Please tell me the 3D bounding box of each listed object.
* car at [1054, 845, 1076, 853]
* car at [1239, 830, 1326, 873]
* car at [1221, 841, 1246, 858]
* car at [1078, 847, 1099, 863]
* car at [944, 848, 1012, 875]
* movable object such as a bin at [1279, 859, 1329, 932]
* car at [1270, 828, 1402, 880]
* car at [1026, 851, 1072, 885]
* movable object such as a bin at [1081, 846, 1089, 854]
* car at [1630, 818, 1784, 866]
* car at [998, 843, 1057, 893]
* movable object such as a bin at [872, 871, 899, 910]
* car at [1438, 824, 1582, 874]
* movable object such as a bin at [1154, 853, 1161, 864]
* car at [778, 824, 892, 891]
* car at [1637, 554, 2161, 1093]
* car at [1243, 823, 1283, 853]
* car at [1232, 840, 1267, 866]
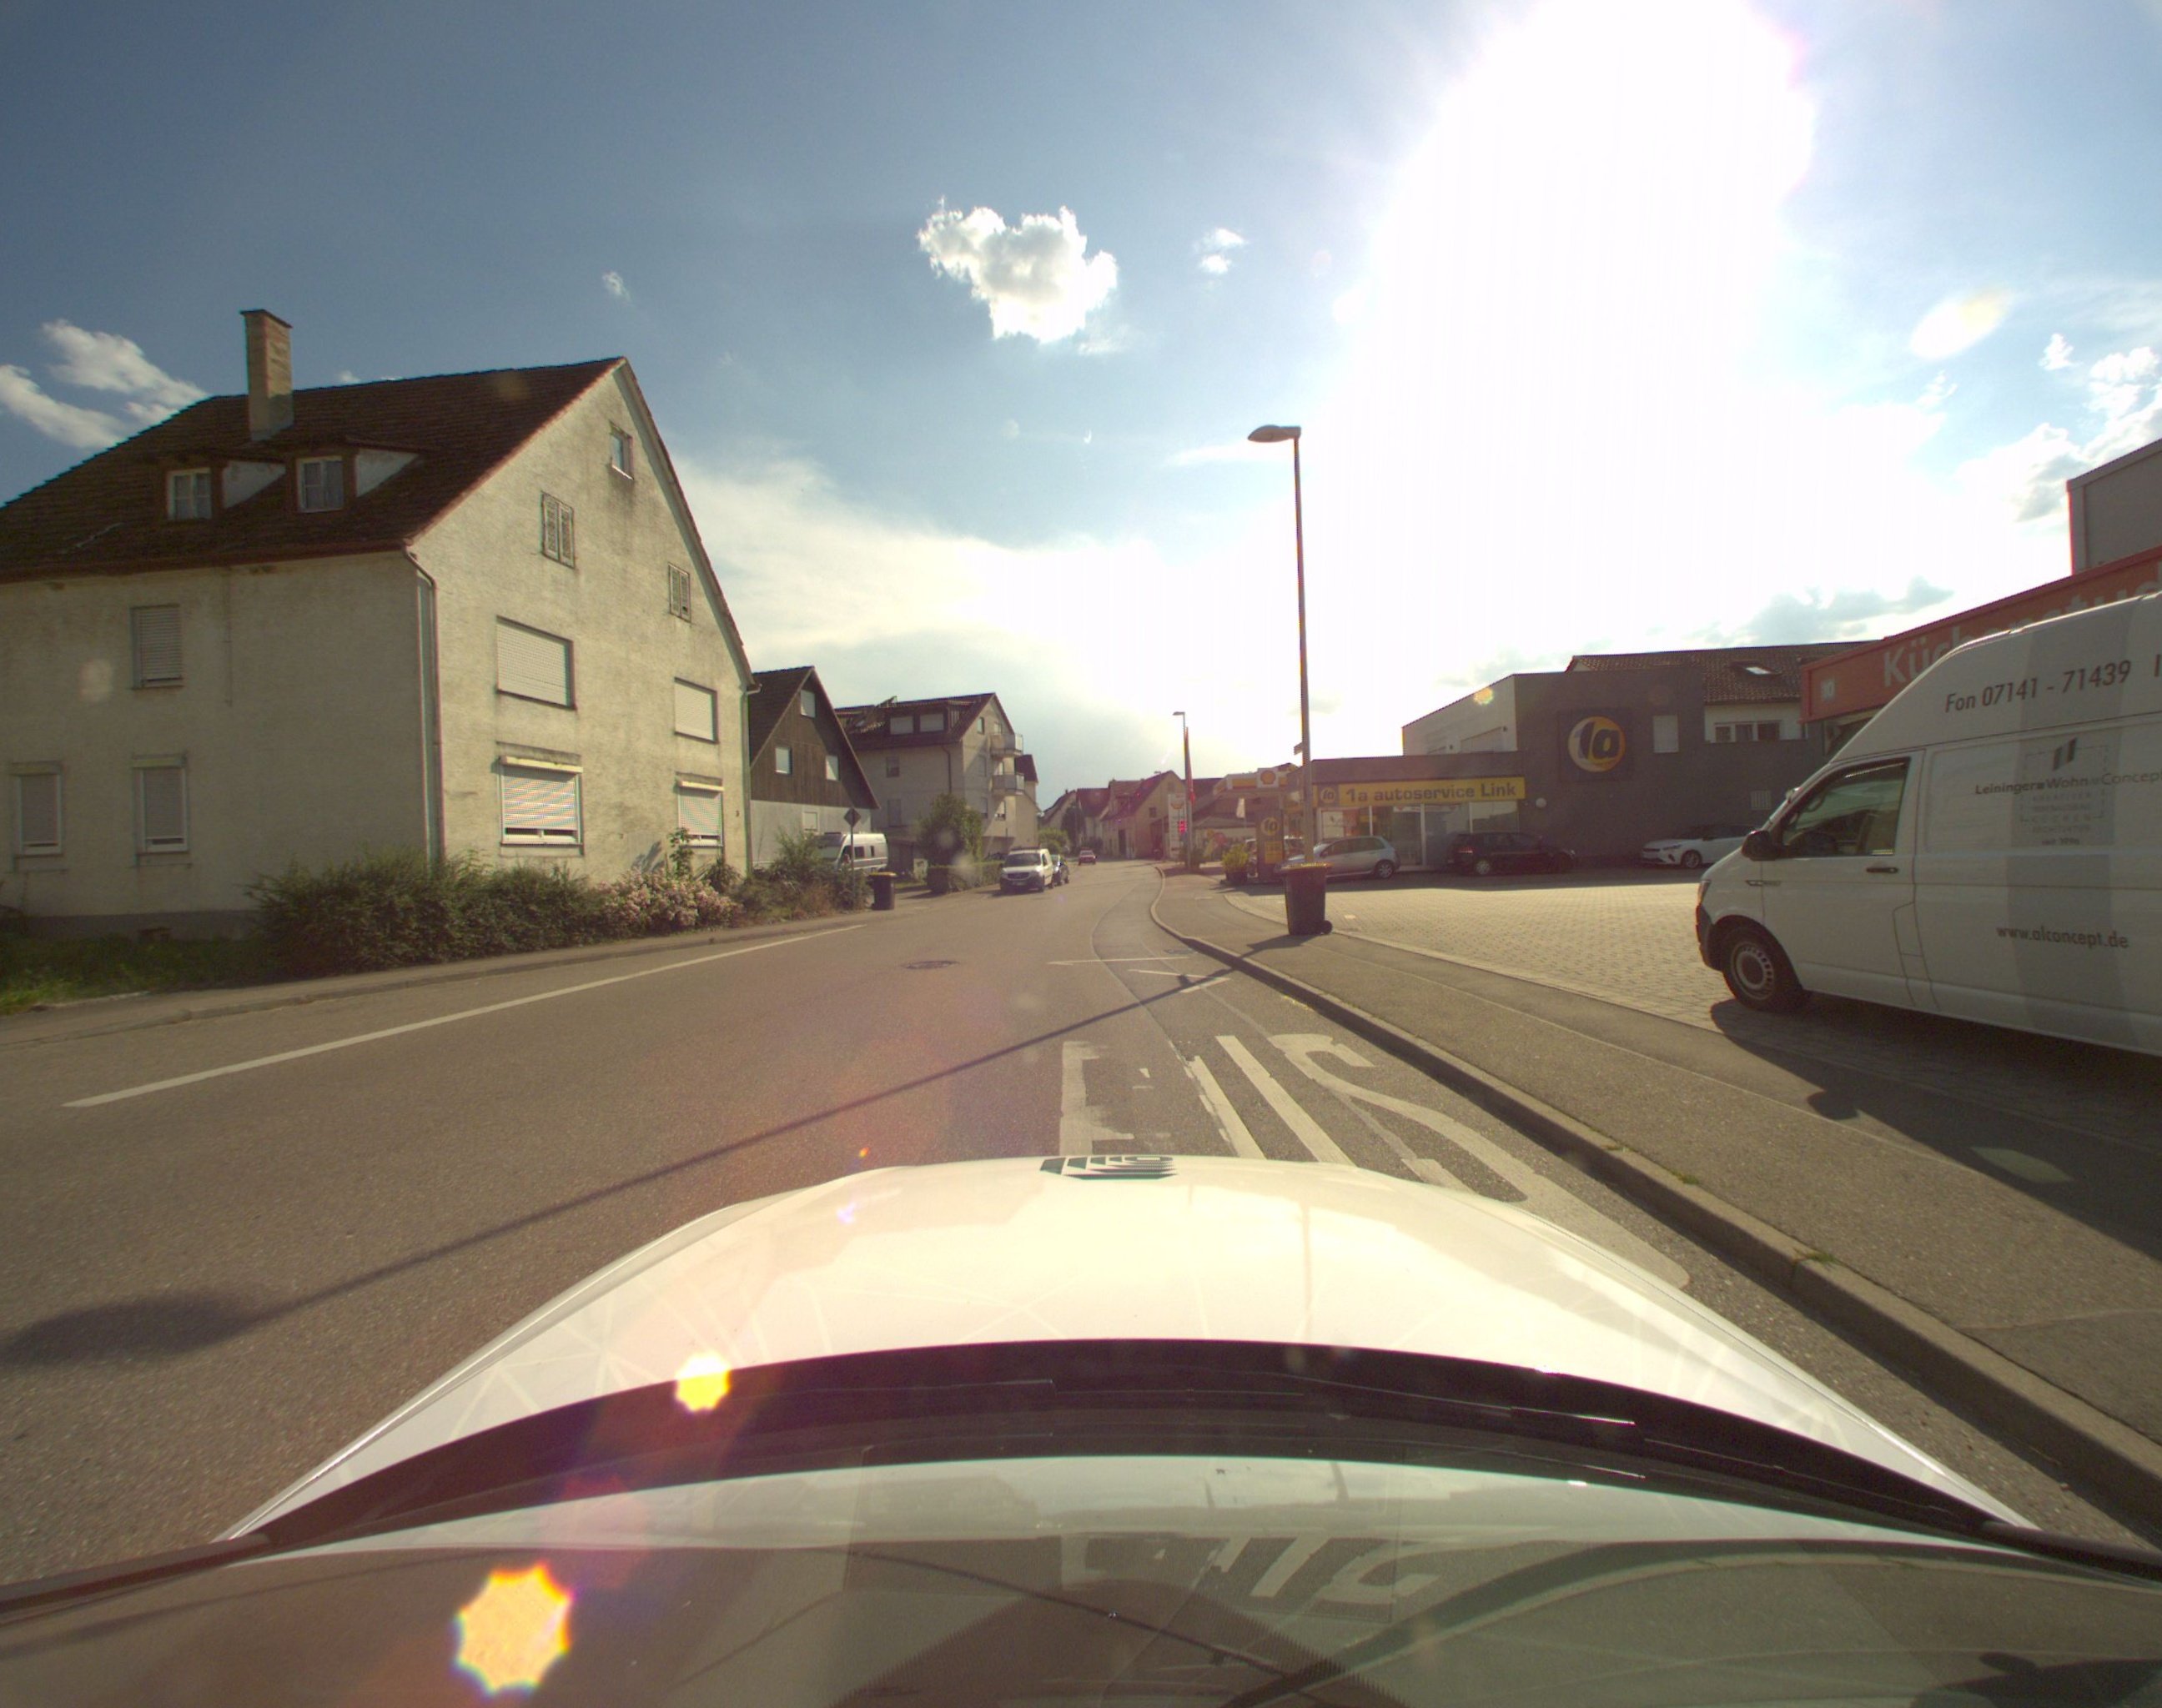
[{"bbox_3d":[-3.013,-0.899,154.373,3.980,1.352,1.708,-2,0,-5],"label":"car"},{"bbox_3d":[9.427,-0.127,37.905,4.098,1.674,1.658,-4,0,-38],"label":"car"},{"bbox_3d":[13.531,-0.428,72.564,1.571,1.427,4.385,-2,0,3],"label":"car"},{"bbox_3d":[0.717,0.114,84.454,1.706,1.434,3.773,-4,0,-5],"label":"car"},{"bbox_3d":[-6.647,0.487,52.595,3.957,1.538,1.770,2,1,16],"label":"car"},{"bbox_3d":[3.446,0.631,12.638,0.565,1.075,0.573,-3,0,0],"label":"movable object such as a bin"},{"bbox_3d":[8.656,0.010,27.787,3.977,1.531,1.526,-3,0,-2],"label":"car"},{"bbox_3d":[-1.514,0.640,39.719,1.664,1.451,3.841,-3,0,6],"label":"car"},{"bbox_3d":[0.719,-0.690,133.408,1.160,1.168,0.653,-2,0,-8],"label":"movable object such as a bin"},{"bbox_3d":[21.058,-0.428,27.498,3.890,1.408,1.717,-2,2,1],"label":"car"},{"bbox_3d":[-2.195,0.542,34.374,1.708,1.872,4.199,-4,0,6],"label":"car"},{"bbox_3d":[-5.731,1.057,23.870,0.608,1.101,0.576,-1,-1,5],"label":"movable object such as a bin"},{"bbox_3d":[14.269,-0.193,27.228,3.890,1.467,1.717,-2,2,1],"label":"car"},{"bbox_3d":[7.898,0.444,83.926,0.650,1.073,0.513,-2,0,1],"label":"movable object such as a bin"},{"bbox_3d":[-10.491,0.124,35.401,2.145,2.596,6.111,-1,0,10],"label":"car"},{"bbox_3d":[5.704,-0.163,4.431,1.829,2.375,5.180,-3,0,1],"label":"car"},{"bbox_3d":[10.419,-0.883,46.803,1.664,1.577,4.004,-3,0,5],"label":"car"},{"bbox_3d":[10.816,-0.083,52.387,1.664,1.577,4.004,-3,0,5],"label":"car"}]
